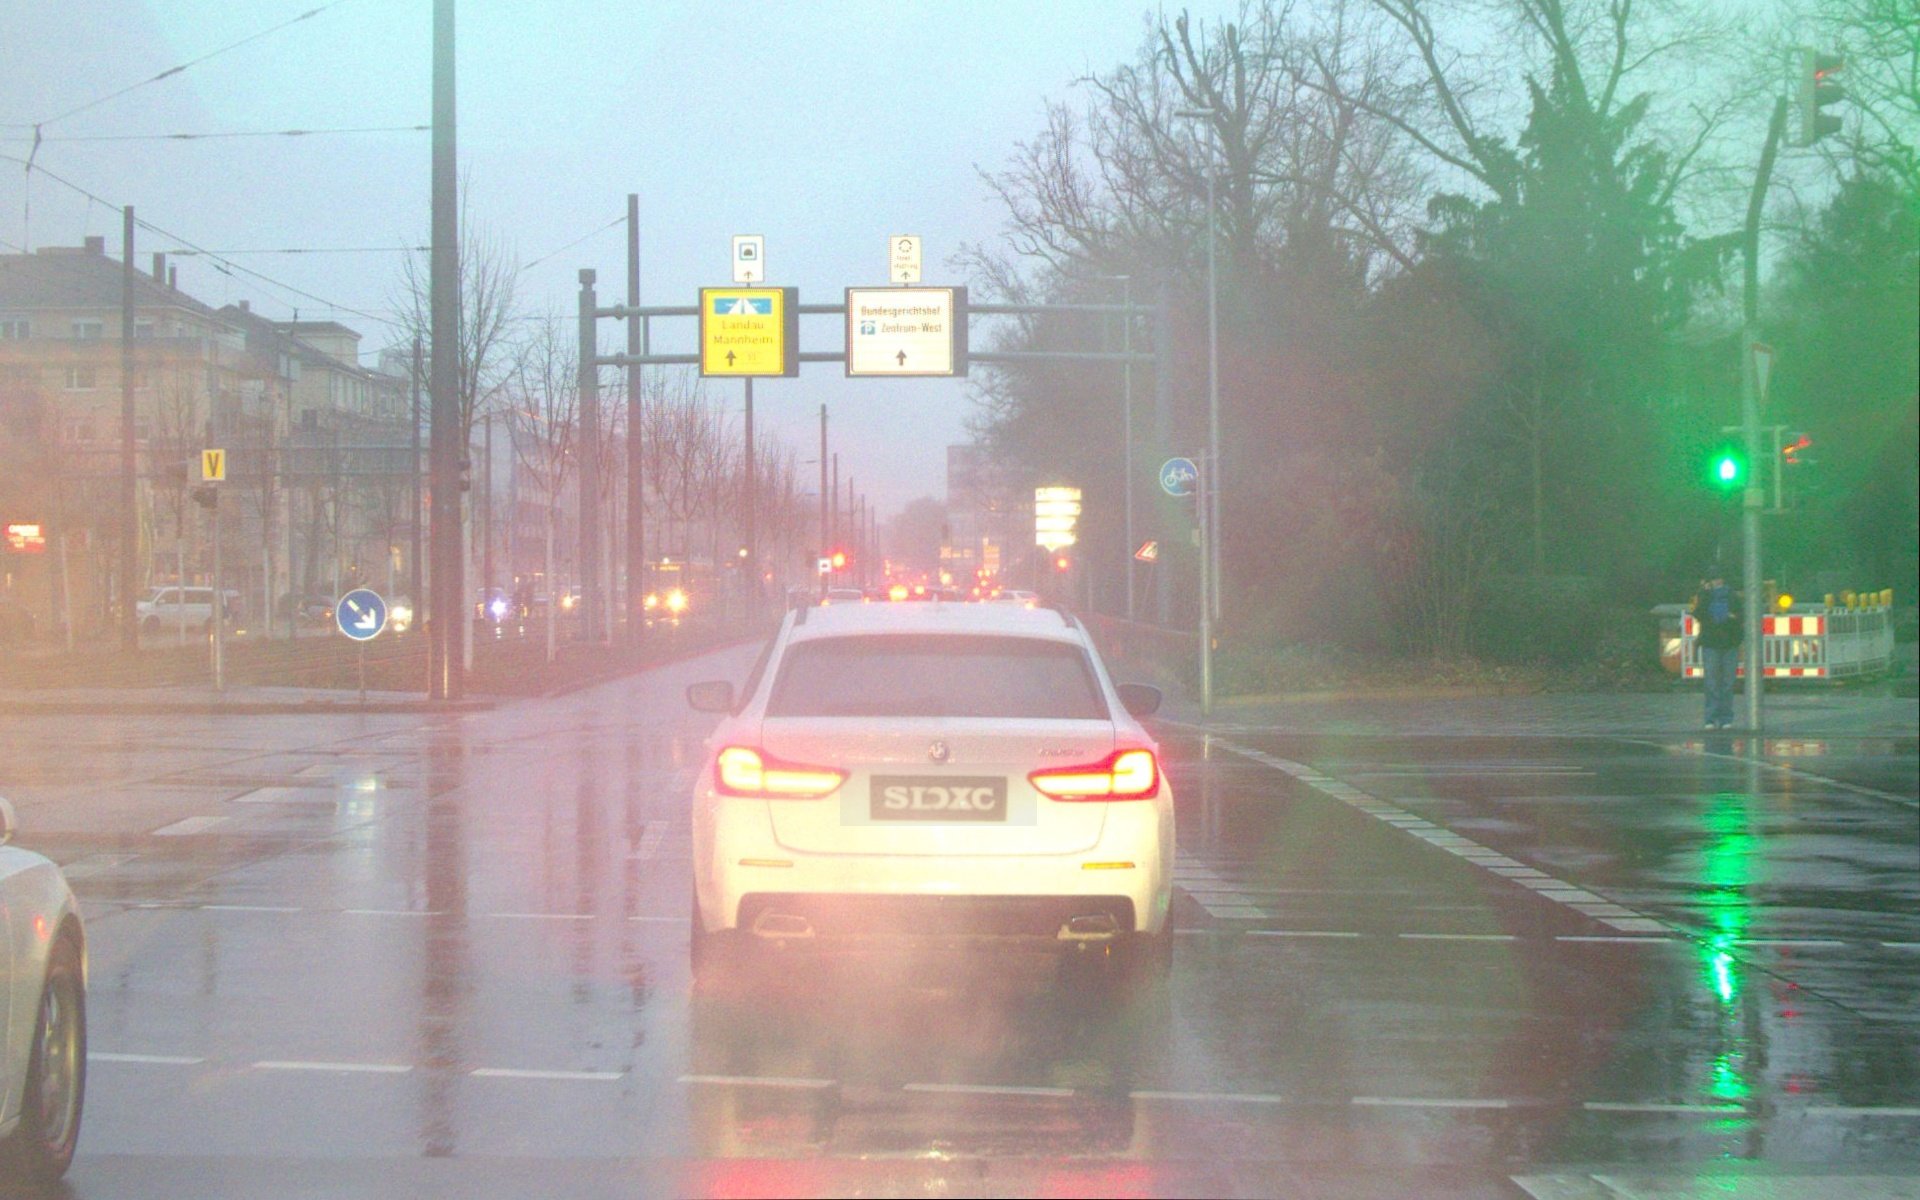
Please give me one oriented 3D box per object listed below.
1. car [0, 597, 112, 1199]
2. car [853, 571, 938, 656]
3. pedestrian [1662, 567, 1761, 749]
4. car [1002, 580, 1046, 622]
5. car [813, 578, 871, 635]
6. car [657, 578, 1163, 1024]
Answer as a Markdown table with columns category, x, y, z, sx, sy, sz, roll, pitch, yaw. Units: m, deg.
| category | x | y | z | sx | sy | sz | roll | pitch | yaw |
| --- | --- | --- | --- | --- | --- | --- | --- | --- | --- |
| car | -3.057 | 0.712 | 6.992 | 1.759 | 1.465 | 4.252 | 1 | 0 | -3 |
| car | -1.575 | 0.331 | 84.456 | 1.993 | 2.007 | 4.000 | 1 | 0 | -1 |
| pedestrian | 7.849 | 0.605 | 35.907 | 0.673 | 1.873 | 0.715 | 1 | 0 | -35 |
| car | 3.146 | 0.072 | 169.812 | 1.993 | 2.007 | 4.000 | 1 | 0 | -1 |
| car | -4.313 | 0.221 | 125.879 | 1.993 | 2.007 | 4.000 | 1 | 0 | -1 |
| car | -0.319 | 0.711 | 14.280 | 1.759 | 1.547 | 4.252 | 1 | 0 | -4 |
